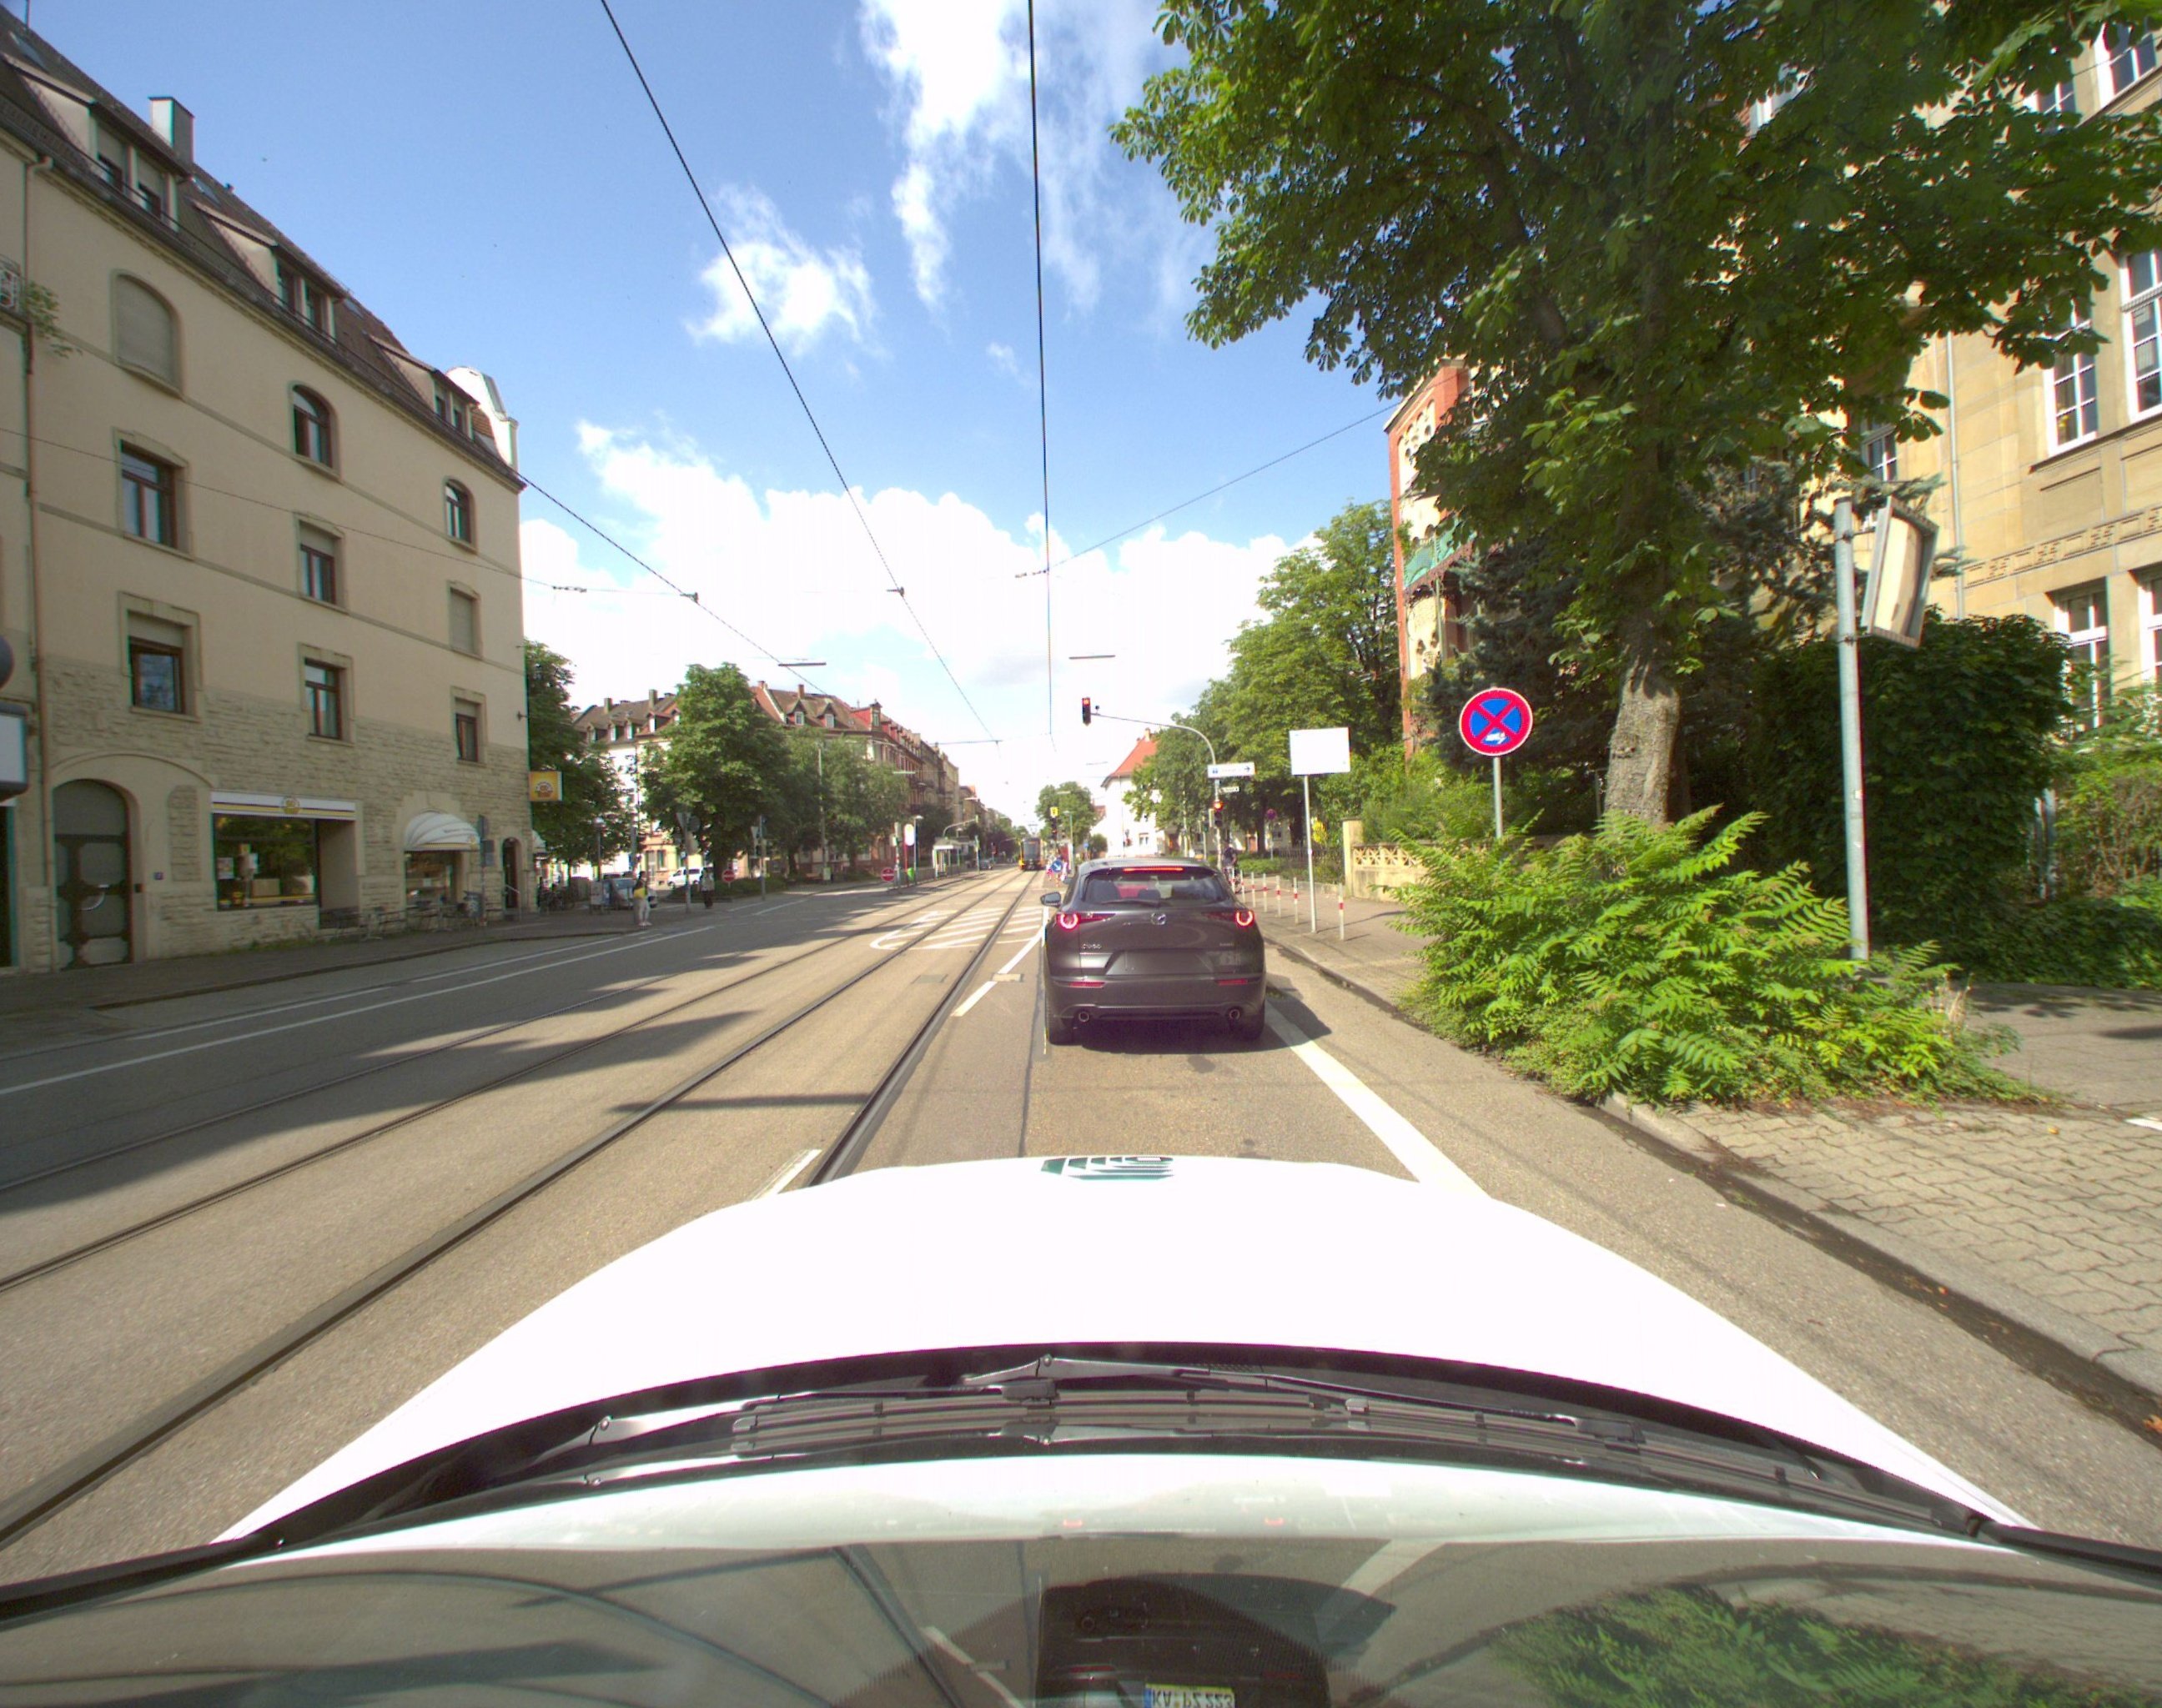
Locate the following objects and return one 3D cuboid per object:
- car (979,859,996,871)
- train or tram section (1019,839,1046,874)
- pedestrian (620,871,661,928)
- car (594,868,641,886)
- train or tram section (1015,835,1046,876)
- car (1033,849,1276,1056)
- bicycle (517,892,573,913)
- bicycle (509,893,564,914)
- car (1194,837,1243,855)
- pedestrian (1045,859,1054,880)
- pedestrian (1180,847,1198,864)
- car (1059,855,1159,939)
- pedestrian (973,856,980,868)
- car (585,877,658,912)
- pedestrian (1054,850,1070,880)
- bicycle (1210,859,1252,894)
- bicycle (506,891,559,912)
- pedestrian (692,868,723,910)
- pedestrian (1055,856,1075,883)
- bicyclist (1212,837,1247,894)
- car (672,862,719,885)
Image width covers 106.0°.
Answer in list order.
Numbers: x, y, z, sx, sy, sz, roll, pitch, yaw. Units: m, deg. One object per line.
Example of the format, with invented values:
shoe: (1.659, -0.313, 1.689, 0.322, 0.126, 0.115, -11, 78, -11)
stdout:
car: (-11.809, 1.422, 103.012, 1.620, 1.387, 3.435, -4, 0, -1)
train or tram section: (-6.021, 0.437, 102.652, 2.991, 3.983, 13.793, -3, -1, -3)
pedestrian: (-13.803, 1.412, 25.535, 0.754, 1.704, 0.873, 2, 0, -3)
car: (-46.476, 2.315, 81.682, 3.895, 1.663, 1.926, -3, 0, 20)
train or tram section: (-5.390, 0.313, 88.860, 2.991, 3.983, 13.793, -3, -1, -3)
car: (0.619, 0.742, 8.005, 1.775, 1.514, 4.002, -1, 0, 2)
bicycle: (-24.354, 2.191, 37.021, 0.516, 0.882, 2.043, -3, -2, 44)
bicycle: (-25.341, 2.303, 37.913, 0.505, 0.882, 2.043, -3, -2, 44)
car: (13.229, -0.739, 78.445, 4.118, 1.509, 1.864, -3, 1, 40)
pedestrian: (-1.725, 0.838, 44.439, 0.421, 1.108, 0.438, -5, 0, -4)
pedestrian: (8.715, 0.091, 65.796, 1.191, 1.269, 0.556, -5, 0, -7)
car: (0.491, 0.770, 16.555, 1.770, 1.464, 3.841, -1, 0, 0)
pedestrian: (-15.576, 1.181, 121.246, 0.785, 1.688, 0.732, -3, 0, -1)
car: (-21.272, 1.867, 37.651, 3.823, 1.420, 1.732, -3, 0, 41)
pedestrian: (-1.025, 0.599, 44.147, 0.727, 1.565, 0.797, -3, 0, -7)
bicycle: (4.970, 0.723, 26.966, 0.385, 1.035, 1.857, -3, 0, 42)
bicycle: (-26.144, 2.261, 38.841, 0.505, 0.882, 2.043, -3, -2, 44)
pedestrian: (-15.710, 1.454, 34.240, 0.852, 1.672, 0.822, -3, 0, -1)
pedestrian: (-0.827, 0.813, 42.036, 0.717, 1.303, 0.823, -5, 0, -19)
bicyclist: (4.896, 0.390, 26.884, 0.736, 1.819, 0.814, -3, 0, -25)
car: (-37.153, 1.871, 78.483, 3.901, 1.988, 1.866, -2, 0, 21)
